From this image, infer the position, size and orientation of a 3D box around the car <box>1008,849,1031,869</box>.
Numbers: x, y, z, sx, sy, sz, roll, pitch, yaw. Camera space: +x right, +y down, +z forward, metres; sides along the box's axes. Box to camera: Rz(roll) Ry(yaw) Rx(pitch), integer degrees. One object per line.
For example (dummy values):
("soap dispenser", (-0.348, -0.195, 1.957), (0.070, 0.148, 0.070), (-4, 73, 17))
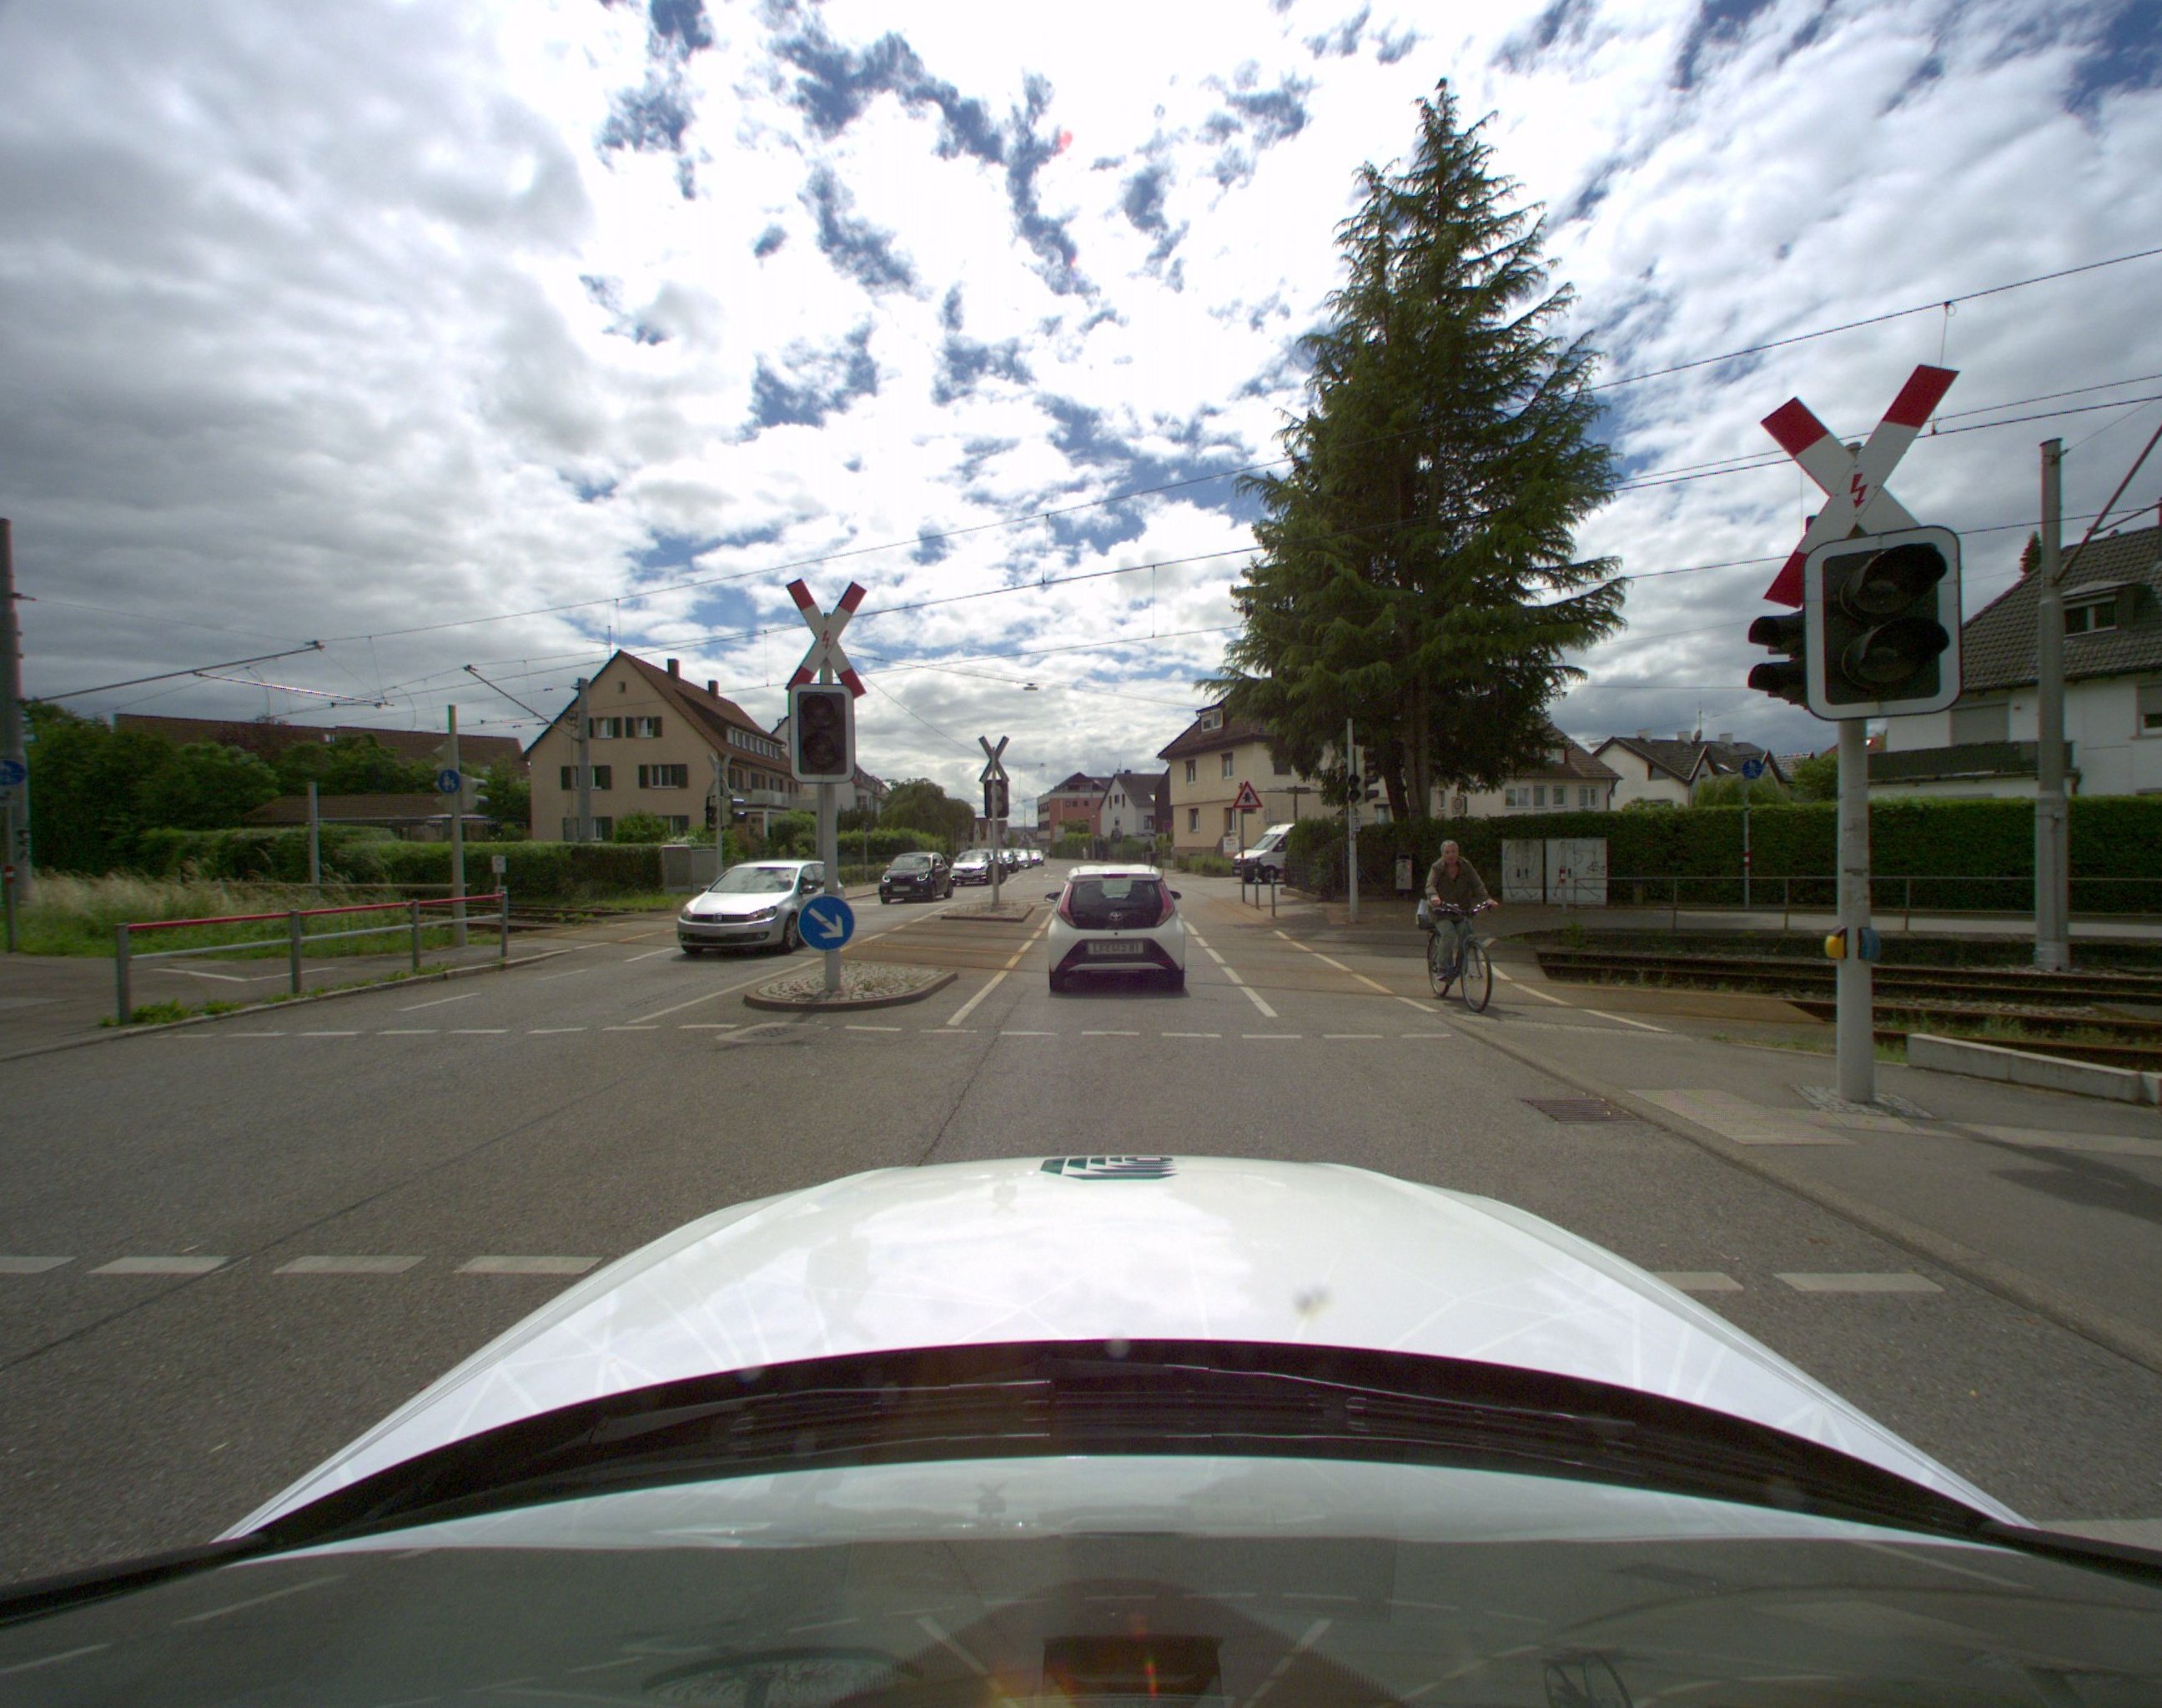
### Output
("car", (-4.970, 0.404, 65.526), (1.772, 1.561, 4.163), (-1, 0, -4))

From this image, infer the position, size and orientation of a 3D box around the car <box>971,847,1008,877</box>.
("car", (-5.164, 0.416, 46.479), (1.770, 1.603, 4.035), (-1, 0, -2))

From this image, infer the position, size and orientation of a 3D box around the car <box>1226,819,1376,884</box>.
("car", (9.390, -0.161, 34.817), (6.004, 2.581, 1.991), (-1, 1, -14))

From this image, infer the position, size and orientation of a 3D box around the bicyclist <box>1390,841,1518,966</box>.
("bicyclist", (3.939, 0.494, 8.709), (0.927, 1.247, 1.104), (0, 0, 5))

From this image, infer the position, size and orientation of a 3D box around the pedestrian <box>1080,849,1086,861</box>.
("pedestrian", (0.237, 0.096, 95.459), (0.440, 1.437, 0.409), (-1, 1, -44))

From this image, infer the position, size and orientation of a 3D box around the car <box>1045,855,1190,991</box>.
("car", (0.486, 0.774, 11.136), (1.615, 1.486, 4.002), (0, 0, 2))

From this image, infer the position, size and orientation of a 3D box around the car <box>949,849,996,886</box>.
("car", (-5.007, 0.574, 37.967), (1.770, 1.603, 4.035), (-1, 0, -2))

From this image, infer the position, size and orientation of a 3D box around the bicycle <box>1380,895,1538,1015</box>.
("bicycle", (3.933, 1.005, 8.679), (0.927, 1.040, 1.917), (0, 0, 5))

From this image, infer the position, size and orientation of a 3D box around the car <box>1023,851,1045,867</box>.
("car", (-4.375, 0.454, 75.267), (1.773, 1.430, 4.512), (-1, 0, -6))

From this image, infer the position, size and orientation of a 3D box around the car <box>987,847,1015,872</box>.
("car", (-5.417, 0.363, 55.757), (1.771, 1.603, 4.163), (-1, 0, -4))

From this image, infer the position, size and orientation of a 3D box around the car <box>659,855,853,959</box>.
("car", (-5.476, 0.809, 14.332), (1.682, 1.458, 4.071), (0, 1, 1))

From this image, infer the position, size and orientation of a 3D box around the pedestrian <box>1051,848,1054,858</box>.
("pedestrian", (-4.362, -0.140, 124.731), (0.413, 1.437, 0.436), (0, 0, -8))

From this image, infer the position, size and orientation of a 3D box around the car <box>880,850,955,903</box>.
("car", (-5.152, 0.669, 25.923), (1.567, 1.510, 2.792), (-2, 1, 5))
